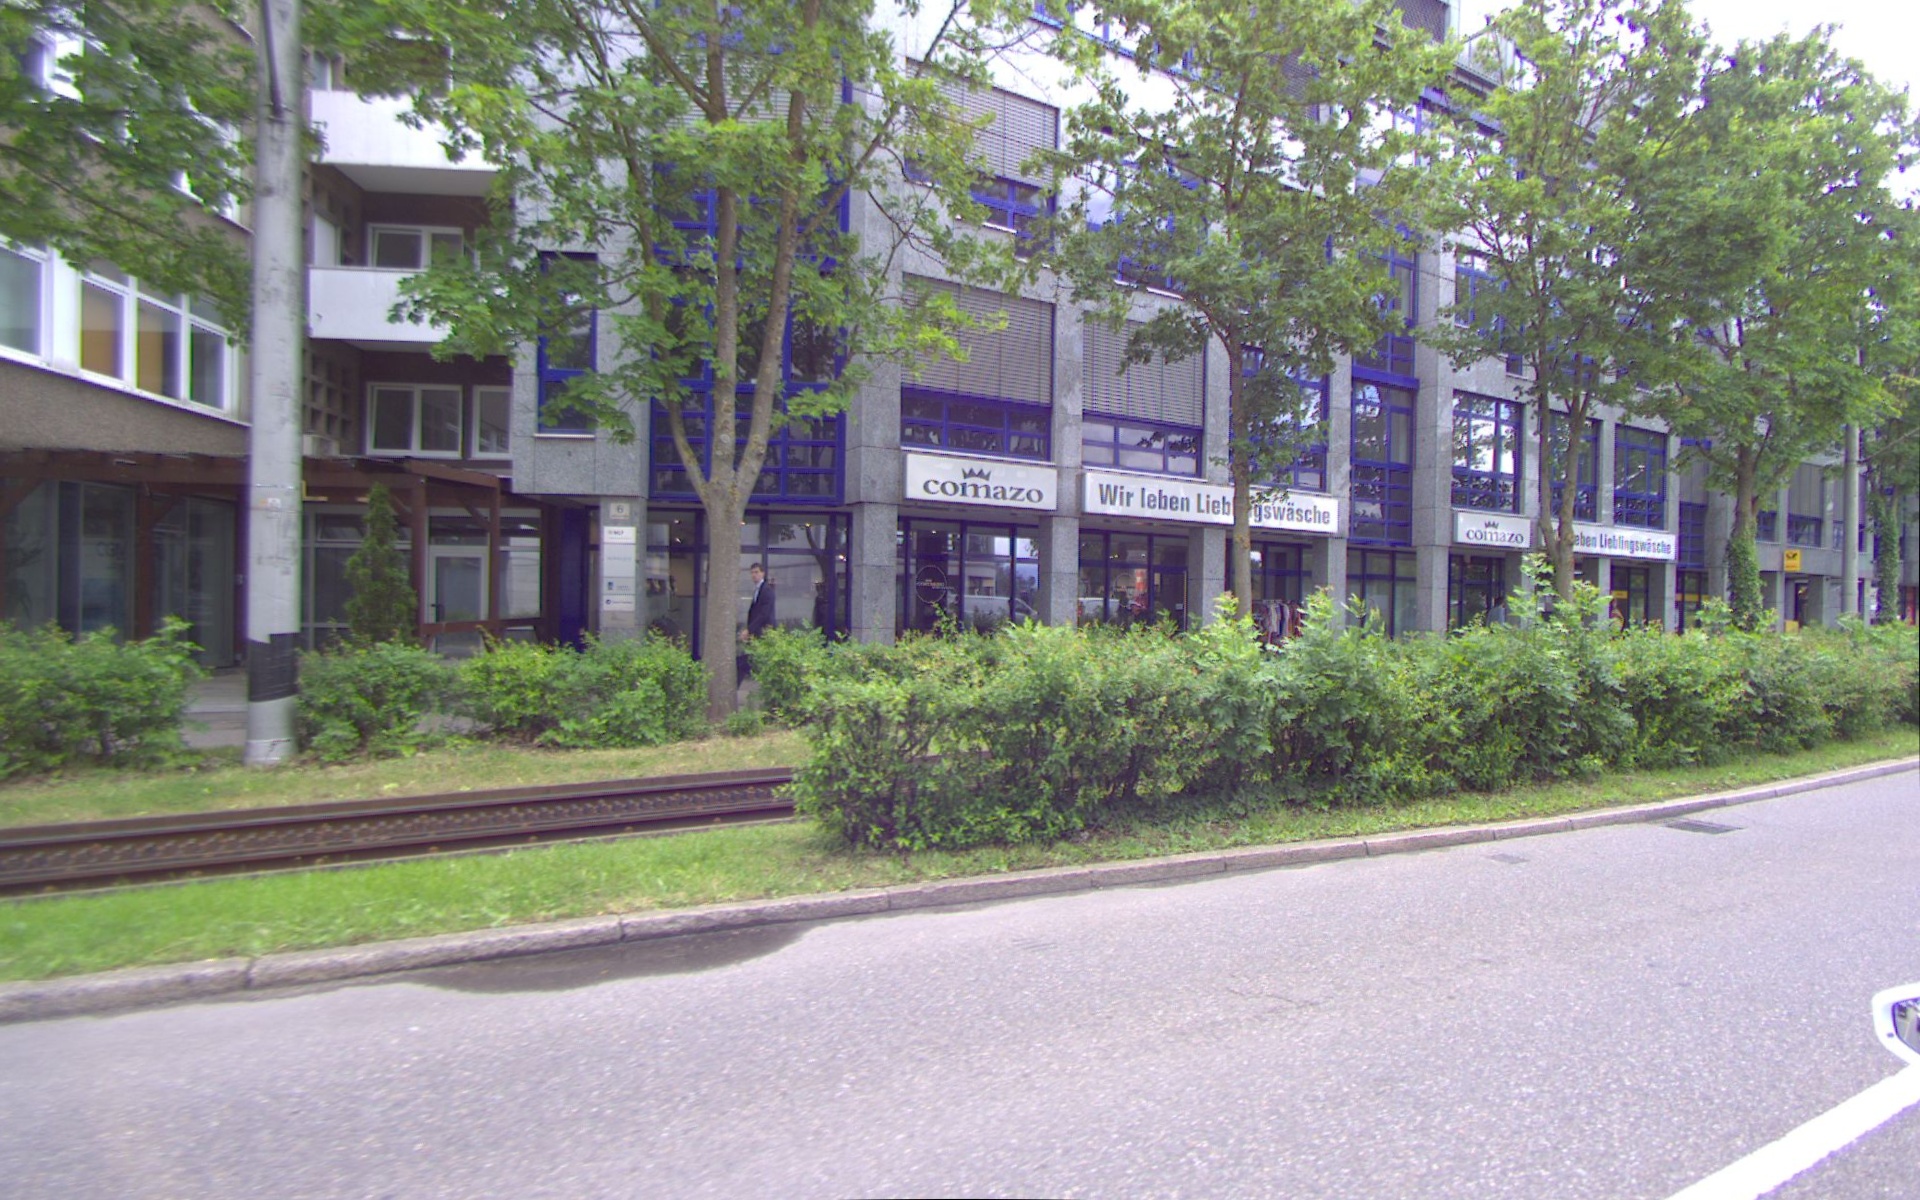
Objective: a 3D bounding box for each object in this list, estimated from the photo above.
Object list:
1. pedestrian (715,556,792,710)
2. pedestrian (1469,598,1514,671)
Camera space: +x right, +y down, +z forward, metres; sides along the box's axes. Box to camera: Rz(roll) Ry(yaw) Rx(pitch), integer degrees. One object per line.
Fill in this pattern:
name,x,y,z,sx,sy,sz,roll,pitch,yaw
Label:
pedestrian,-2.738,0.428,13.277,0.723,1.949,0.810,2,0,-31
pedestrian,14.436,0.929,27.291,0.723,1.919,0.770,2,0,-30
